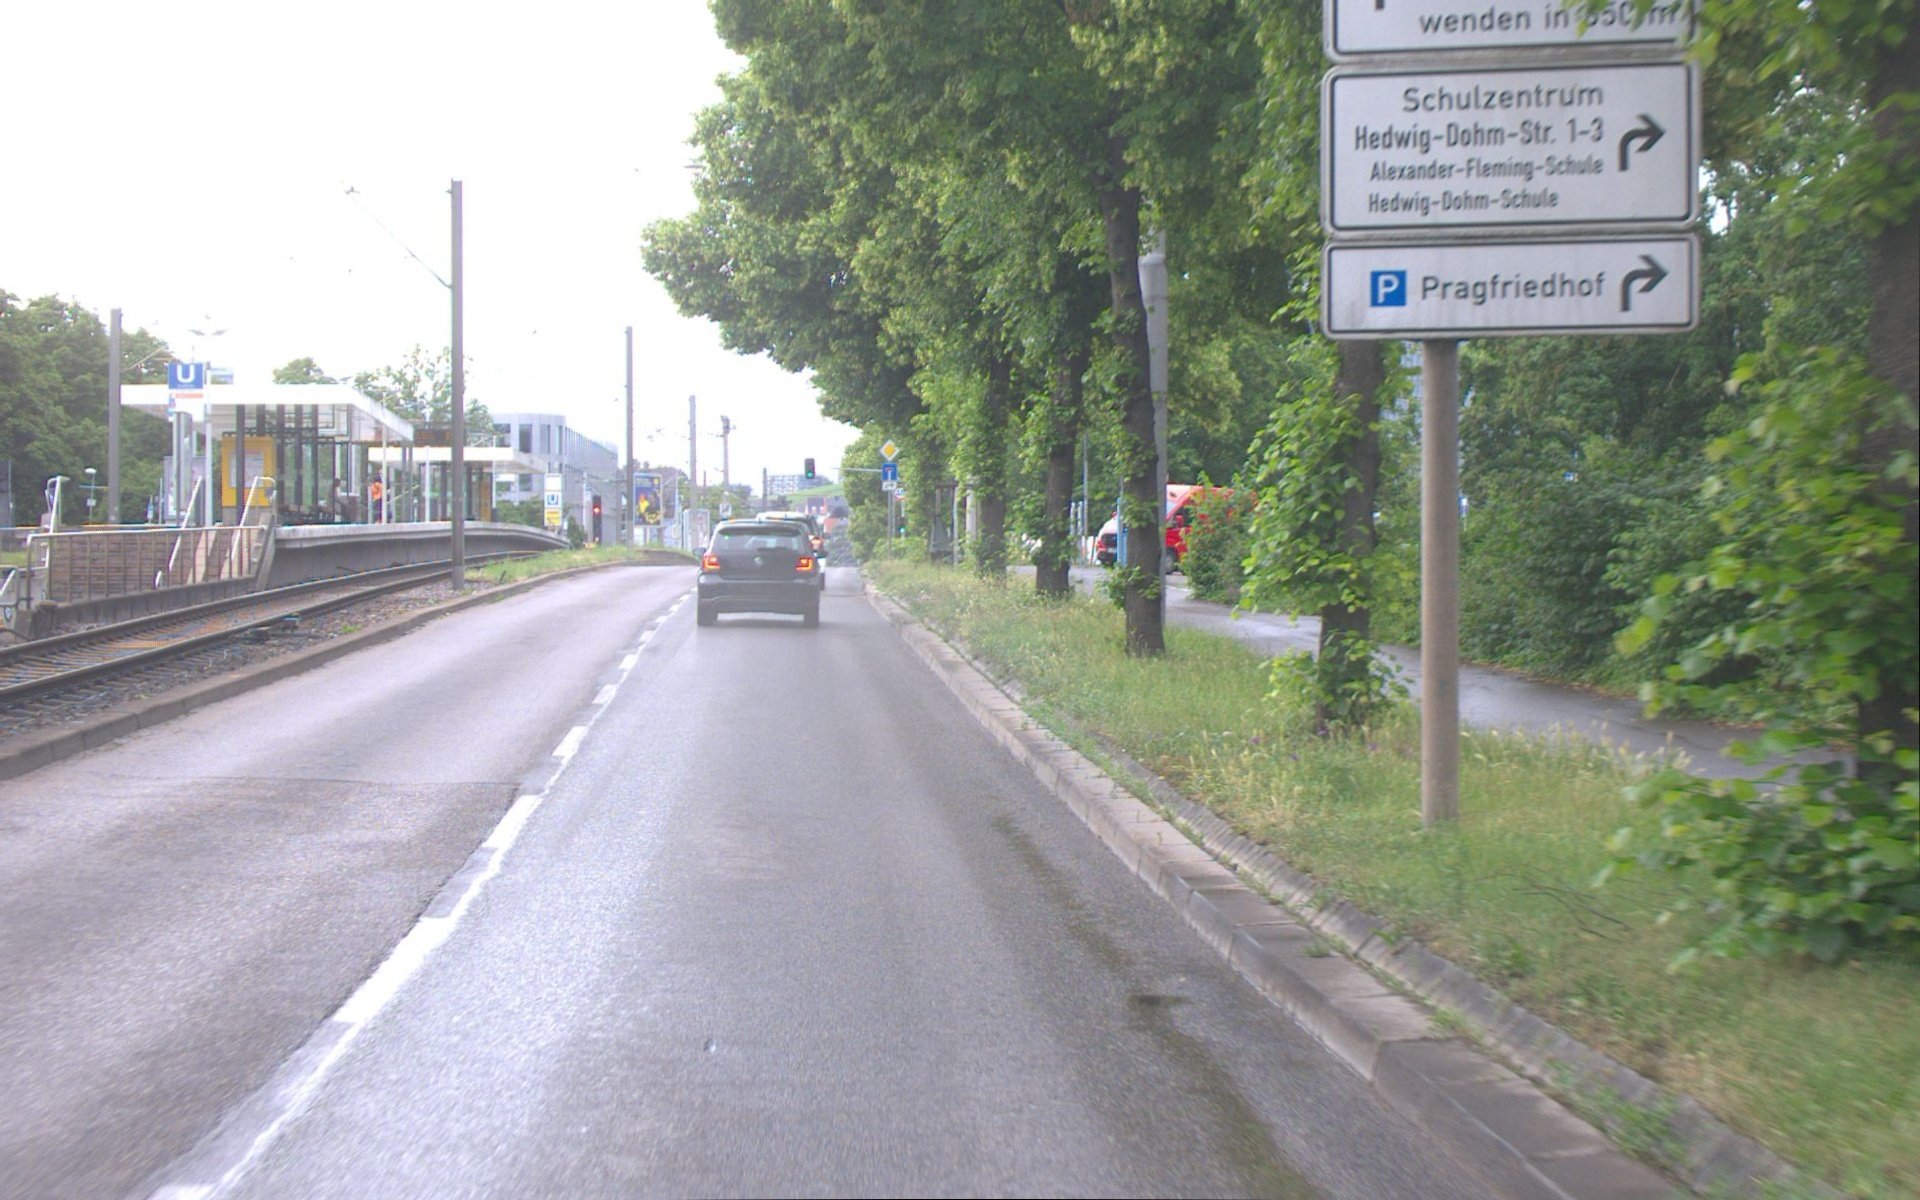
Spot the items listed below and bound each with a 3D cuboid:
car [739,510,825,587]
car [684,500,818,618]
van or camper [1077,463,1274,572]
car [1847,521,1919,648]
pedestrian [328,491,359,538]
[{"bbox_3d":[-3.617,-1.073,70.192,1.687,1.512,4.001,0,2,-3],"label":"car"},{"bbox_3d":[-2.843,-0.602,47.374,1.726,1.535,4.001,0,2,-2],"label":"car"},{"bbox_3d":[5.582,-2.101,88.429,2.040,2.398,5.378,6,2,40],"label":"van or camper"},{"bbox_3d":[15.635,-0.136,50.778,1.940,1.828,4.466,1,2,-43],"label":"car"},{"bbox_3d":[-16.034,-2.217,89.388,0.710,1.221,0.619,1,1,-2],"label":"pedestrian"}]
